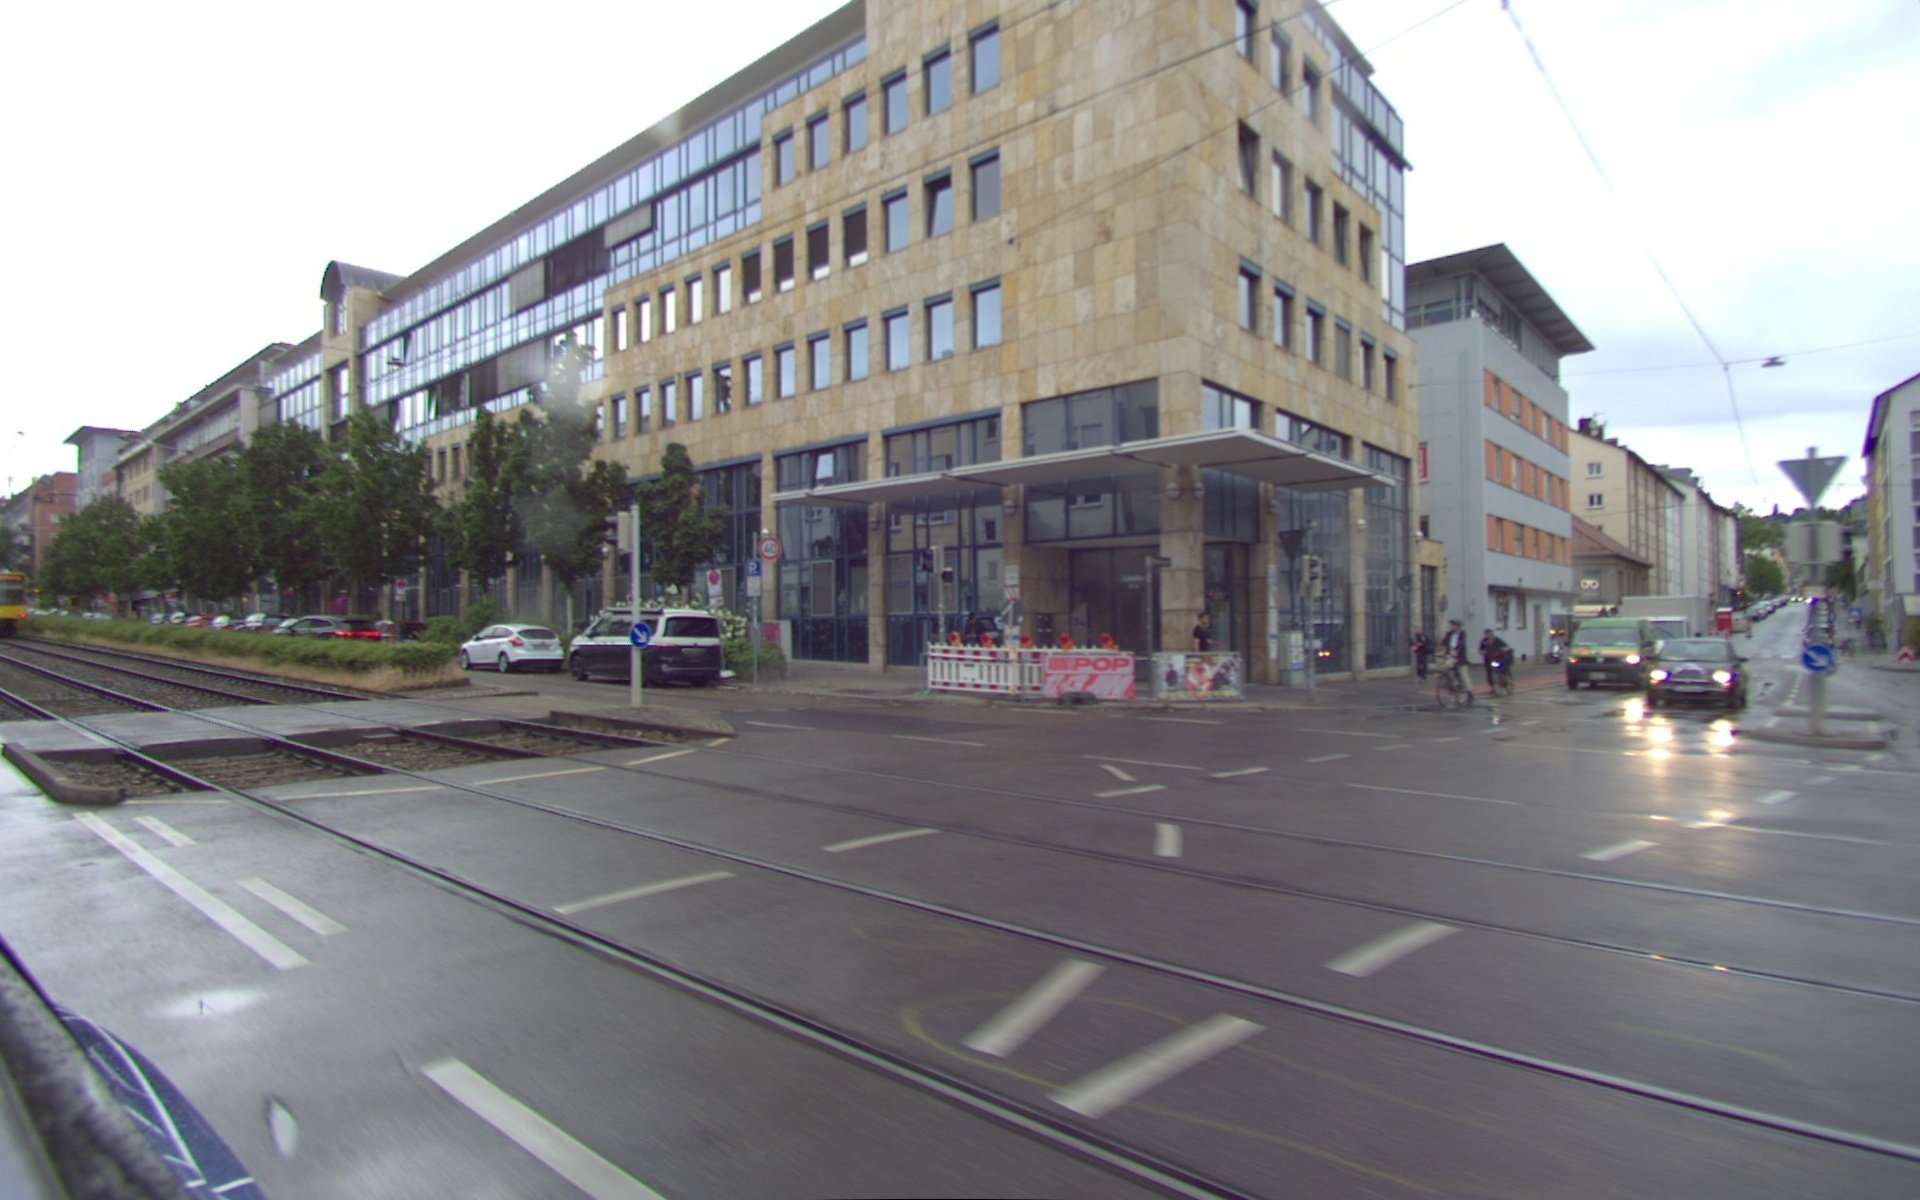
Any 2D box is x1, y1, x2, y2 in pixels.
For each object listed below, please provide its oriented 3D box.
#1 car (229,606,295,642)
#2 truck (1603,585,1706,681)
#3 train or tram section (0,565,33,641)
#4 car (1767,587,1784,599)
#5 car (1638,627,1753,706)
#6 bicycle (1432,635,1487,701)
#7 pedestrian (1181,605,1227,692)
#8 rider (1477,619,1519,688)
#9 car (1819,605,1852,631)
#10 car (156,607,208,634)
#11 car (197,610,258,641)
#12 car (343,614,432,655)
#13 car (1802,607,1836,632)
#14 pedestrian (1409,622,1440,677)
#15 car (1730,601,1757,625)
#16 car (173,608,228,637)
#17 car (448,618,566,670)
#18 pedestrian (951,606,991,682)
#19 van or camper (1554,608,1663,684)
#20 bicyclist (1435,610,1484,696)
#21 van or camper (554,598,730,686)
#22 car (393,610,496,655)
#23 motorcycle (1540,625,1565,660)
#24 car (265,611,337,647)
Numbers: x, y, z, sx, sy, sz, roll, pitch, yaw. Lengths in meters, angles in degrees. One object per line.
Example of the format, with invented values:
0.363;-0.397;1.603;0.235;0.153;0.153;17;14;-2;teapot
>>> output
-33.778;1.137;48.925;4.292;1.613;1.631;0;-2;42;car
25.602;1.137;37.146;2.459;3.188;7.077;-1;-1;40;truck
-58.546;0.060;60.266;18.761;4.081;2.871;1;-1;42;train or tram section
142.444;-1.233;176.727;2.001;2.029;3.942;0;-1;44;car
16.353;1.385;22.422;1.889;1.541;3.948;-1;-1;39;car
10.837;1.443;21.935;0.659;1.321;1.746;-1;-1;40;bicycle
5.097;1.002;21.192;0.667;1.794;0.705;0;-1;-14;pedestrian
13.671;1.342;25.719;0.783;1.688;0.701;-1;-1;41;rider
65.698;1.333;76.000;1.780;1.884;3.970;-1;-1;40;car
-46.579;1.205;60.520;4.620;1.552;1.631;0;-2;42;car
-38.634;1.323;53.353;4.620;1.552;1.631;0;-2;42;car
-21.799;1.285;38.484;3.997;1.497;1.672;-1;-1;40;car
60.672;1.344;71.546;1.780;1.747;4.109;-1;-1;40;car
13.980;1.478;30.466;0.703;1.649;0.573;-1;-2;42;pedestrian
68.342;1.109;88.303;1.655;2.029;3.437;-2;-1;41;car
-42.935;1.244;57.177;4.620;1.552;1.631;0;-2;42;car
-14.159;1.324;31.534;4.252;1.497;1.672;-1;-1;40;car
0.264;1.068;24.801;0.679;1.828;0.693;-1;-2;44;pedestrian
19.578;1.309;30.435;2.095;2.078;5.030;-1;-1;40;van or camper
10.848;1.130;21.996;0.783;1.818;0.701;-1;-1;41;bicyclist
-8.370;0.997;26.367;5.196;2.012;1.995;1;0;42;van or camper
-18.132;1.107;35.535;4.291;1.497;1.672;-1;-1;40;car
29.519;2.086;50.423;0.733;1.704;2.140;-1;-1;39;motorcycle
-29.476;1.269;45.248;4.292;1.509;1.631;0;-2;42;car
